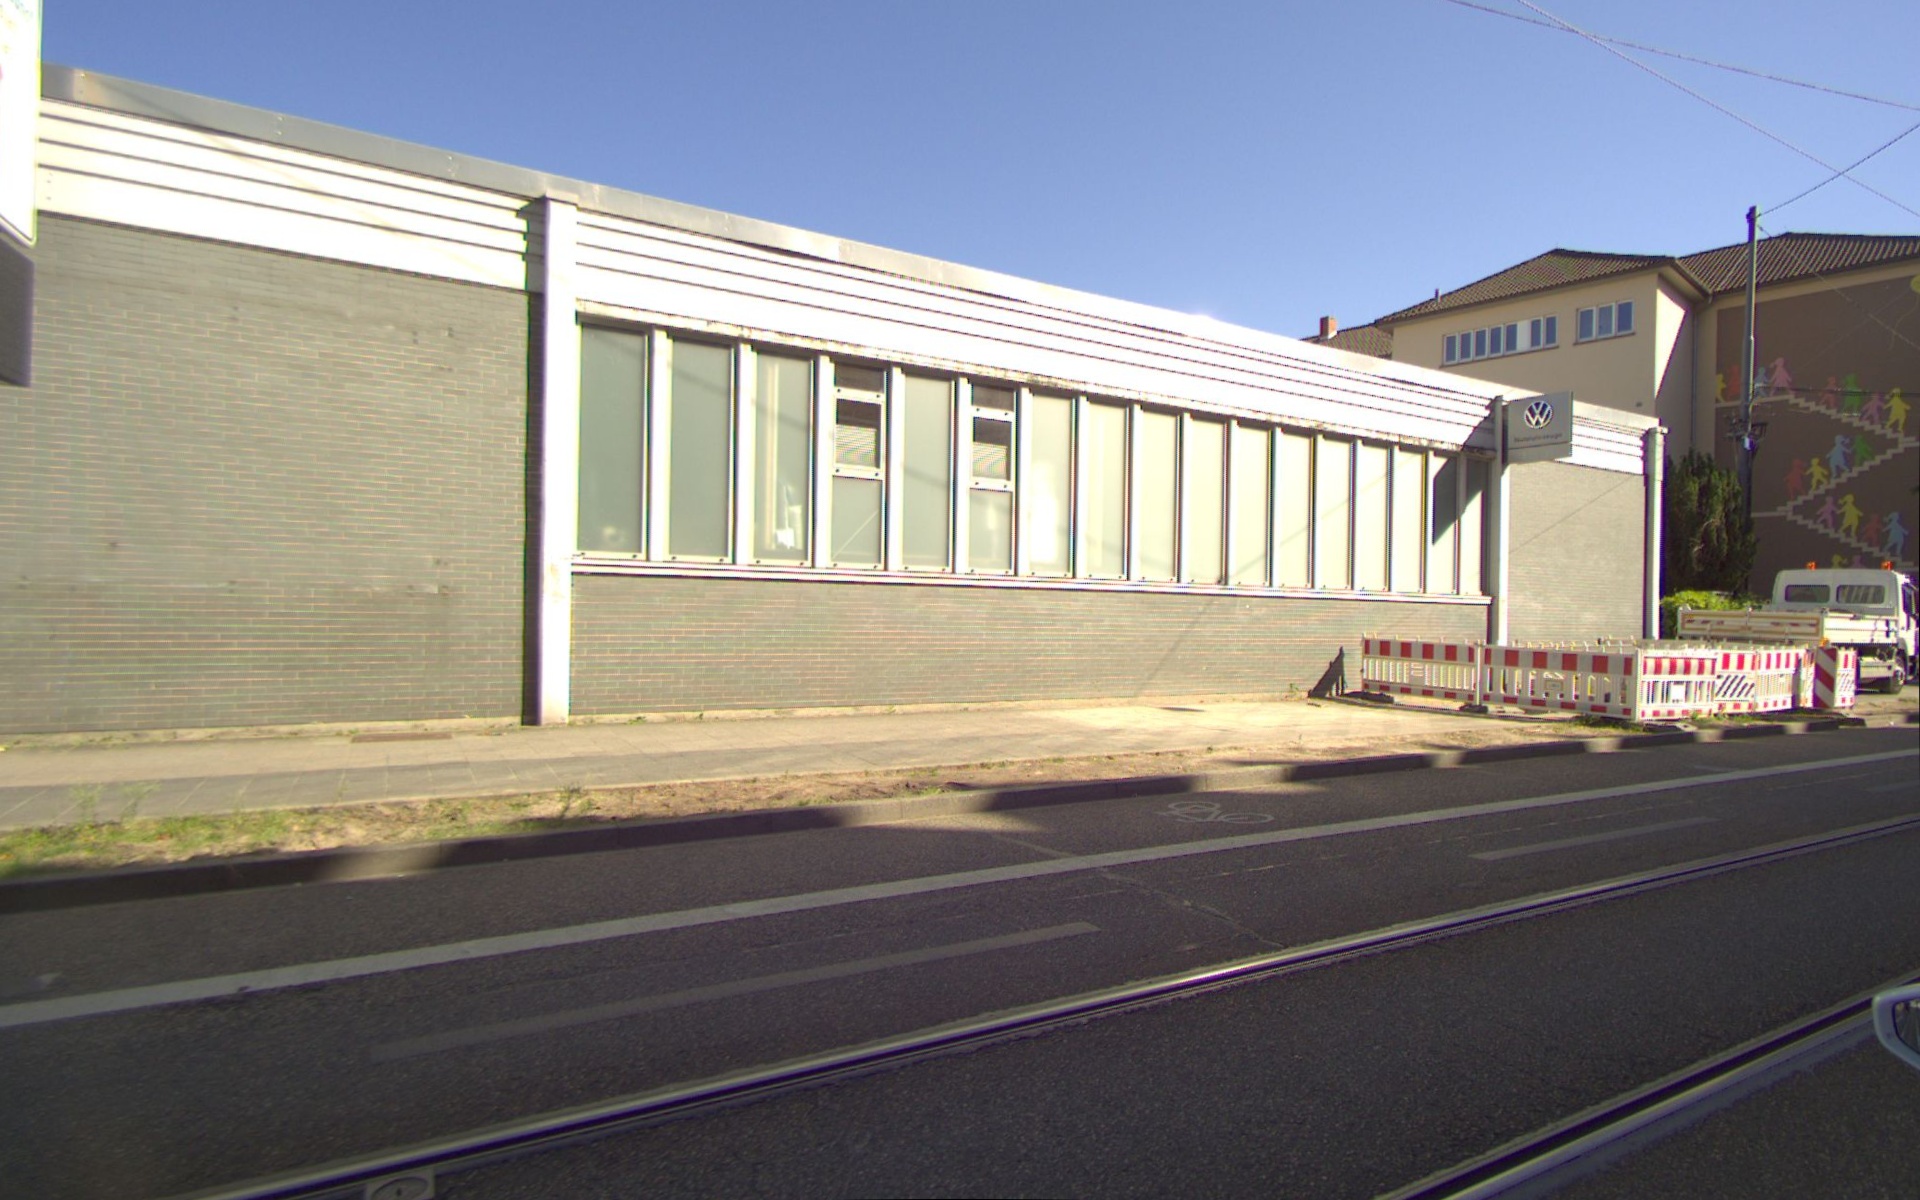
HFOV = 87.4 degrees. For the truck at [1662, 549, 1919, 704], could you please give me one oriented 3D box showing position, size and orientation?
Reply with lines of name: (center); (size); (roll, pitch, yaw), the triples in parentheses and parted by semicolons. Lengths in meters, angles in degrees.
truck: (17.846, 0.554, 21.420); (6.309, 2.868, 2.522); (2, 1, -34)
